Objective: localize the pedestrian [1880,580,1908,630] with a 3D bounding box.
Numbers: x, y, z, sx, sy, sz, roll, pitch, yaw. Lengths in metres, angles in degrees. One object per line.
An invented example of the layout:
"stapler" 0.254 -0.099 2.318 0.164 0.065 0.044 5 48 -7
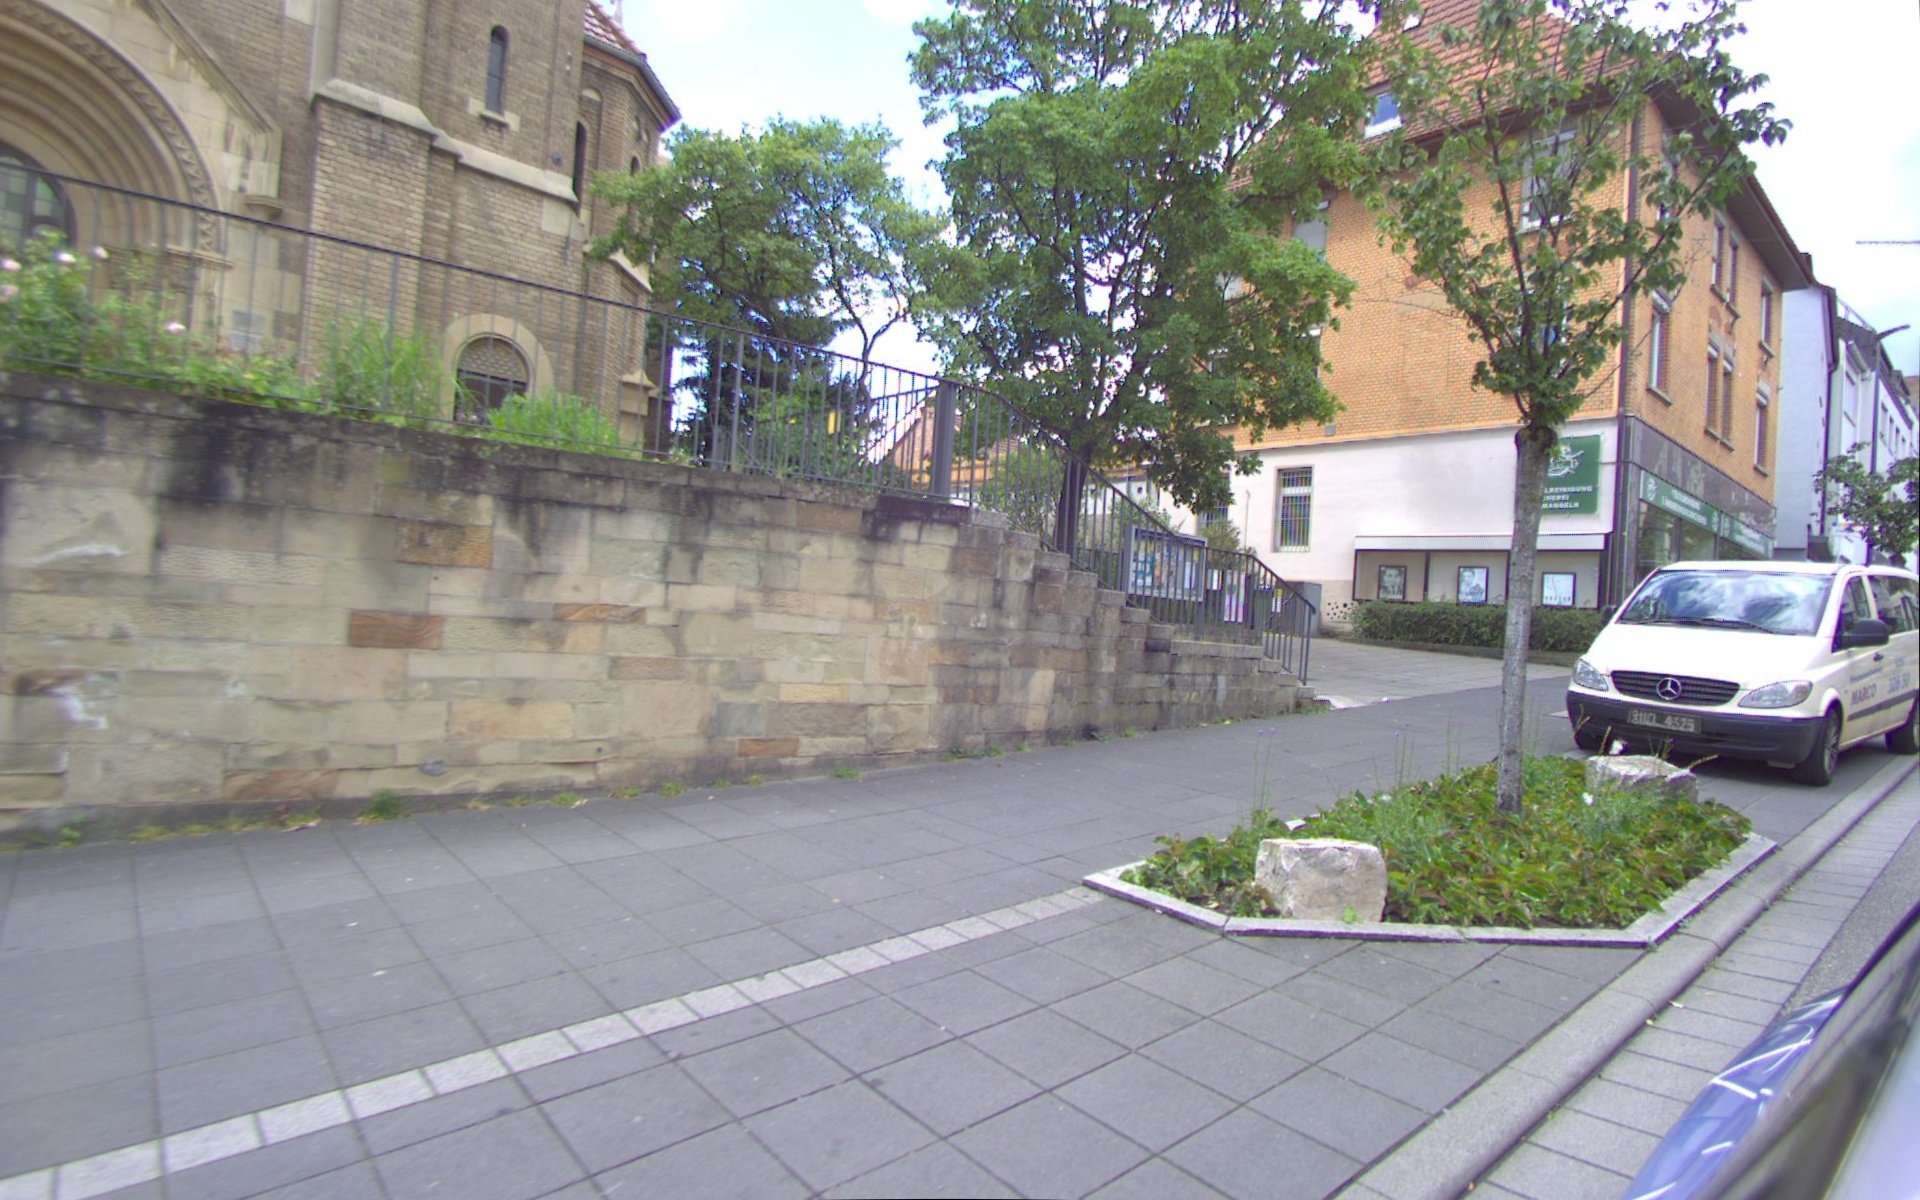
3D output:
"pedestrian" 30.011 0.157 32.515 0.565 1.558 0.518 5 4 42

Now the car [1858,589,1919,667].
"car" 20.427 0.580 21.260 3.878 1.465 1.815 0 4 -42

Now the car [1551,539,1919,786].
"car" 7.945 0.444 9.888 4.936 1.870 1.891 0 2 -36
